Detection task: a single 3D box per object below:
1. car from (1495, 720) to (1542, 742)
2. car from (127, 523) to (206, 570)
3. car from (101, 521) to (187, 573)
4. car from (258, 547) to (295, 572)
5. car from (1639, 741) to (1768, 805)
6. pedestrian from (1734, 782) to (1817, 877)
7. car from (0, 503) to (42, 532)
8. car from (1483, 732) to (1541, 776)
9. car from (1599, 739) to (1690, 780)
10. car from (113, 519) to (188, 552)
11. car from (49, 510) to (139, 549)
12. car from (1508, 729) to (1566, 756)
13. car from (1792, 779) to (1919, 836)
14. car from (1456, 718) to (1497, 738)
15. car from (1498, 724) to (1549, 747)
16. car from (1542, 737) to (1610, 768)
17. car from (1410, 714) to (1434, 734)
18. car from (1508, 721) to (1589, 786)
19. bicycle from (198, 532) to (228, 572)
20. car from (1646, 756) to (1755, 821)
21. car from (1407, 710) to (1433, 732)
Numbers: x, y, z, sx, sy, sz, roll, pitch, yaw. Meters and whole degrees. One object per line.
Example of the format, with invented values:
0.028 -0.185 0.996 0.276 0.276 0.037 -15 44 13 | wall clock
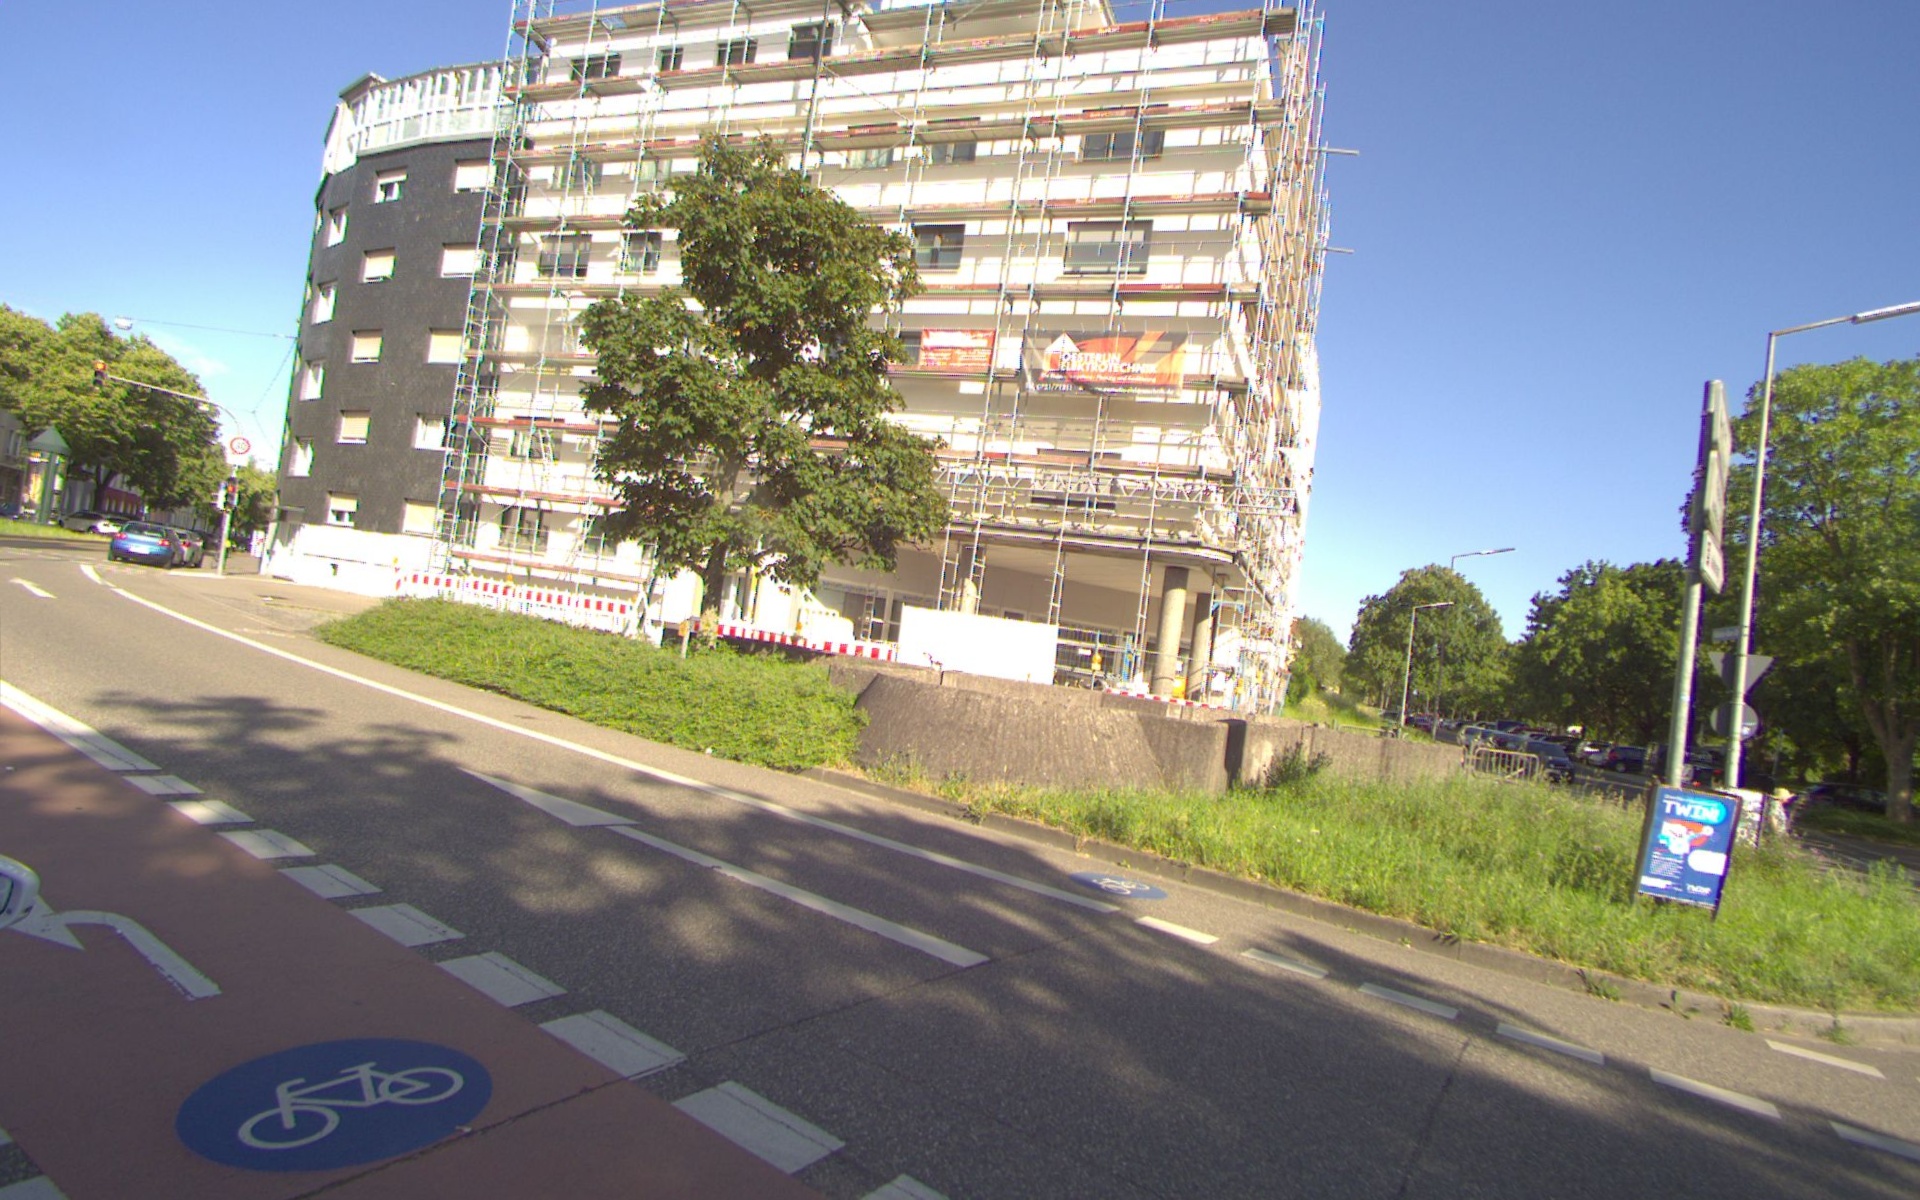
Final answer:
58.472 13.686 105.366 3.927 1.673 2.003 6 -4 23 | car
-31.449 -2.108 39.994 1.808 1.525 3.968 9 -2 -31 | car
-28.950 -1.876 35.782 1.765 1.458 3.588 10 -3 -32 | car
-57.230 -3.341 84.290 1.980 1.635 3.973 10 -5 -29 | car
33.842 7.841 45.953 4.276 2.096 2.000 7 -3 28 | car
15.176 4.254 18.739 0.892 1.514 0.652 7 -2 17 | pedestrian
-59.177 -5.192 62.549 1.979 1.489 3.973 9 -3 -28 | car
26.219 7.296 47.906 1.964 1.679 4.005 6 -5 25 | car
39.133 9.124 57.653 3.929 1.673 2.002 6 -4 26 | car
-61.214 -4.860 76.139 3.765 1.805 1.835 9 -2 -18 | car
-51.057 -4.143 59.322 3.924 1.611 1.914 8 -2 12 | car
49.796 12.289 86.899 3.927 1.673 2.003 6 -4 23 | car
30.432 6.947 33.462 3.935 1.311 1.999 5 -5 33 | car
60.994 15.117 118.901 3.927 1.673 2.003 6 -4 23 | car
53.785 12.937 96.117 3.927 1.673 2.003 6 -4 23 | car
46.154 11.428 75.477 3.927 1.673 2.003 6 -4 23 | car
46.325 12.478 100.938 1.964 1.679 4.005 6 -5 25 | car
22.714 5.880 38.985 1.964 2.036 4.004 7 -3 23 | car
-31.263 -2.003 42.132 0.569 1.528 2.785 9 -2 -31 | bicycle
23.984 6.058 32.717 1.648 1.519 3.567 7 -3 18 | car
41.983 11.070 91.960 1.964 1.679 4.005 6 -5 25 | car
